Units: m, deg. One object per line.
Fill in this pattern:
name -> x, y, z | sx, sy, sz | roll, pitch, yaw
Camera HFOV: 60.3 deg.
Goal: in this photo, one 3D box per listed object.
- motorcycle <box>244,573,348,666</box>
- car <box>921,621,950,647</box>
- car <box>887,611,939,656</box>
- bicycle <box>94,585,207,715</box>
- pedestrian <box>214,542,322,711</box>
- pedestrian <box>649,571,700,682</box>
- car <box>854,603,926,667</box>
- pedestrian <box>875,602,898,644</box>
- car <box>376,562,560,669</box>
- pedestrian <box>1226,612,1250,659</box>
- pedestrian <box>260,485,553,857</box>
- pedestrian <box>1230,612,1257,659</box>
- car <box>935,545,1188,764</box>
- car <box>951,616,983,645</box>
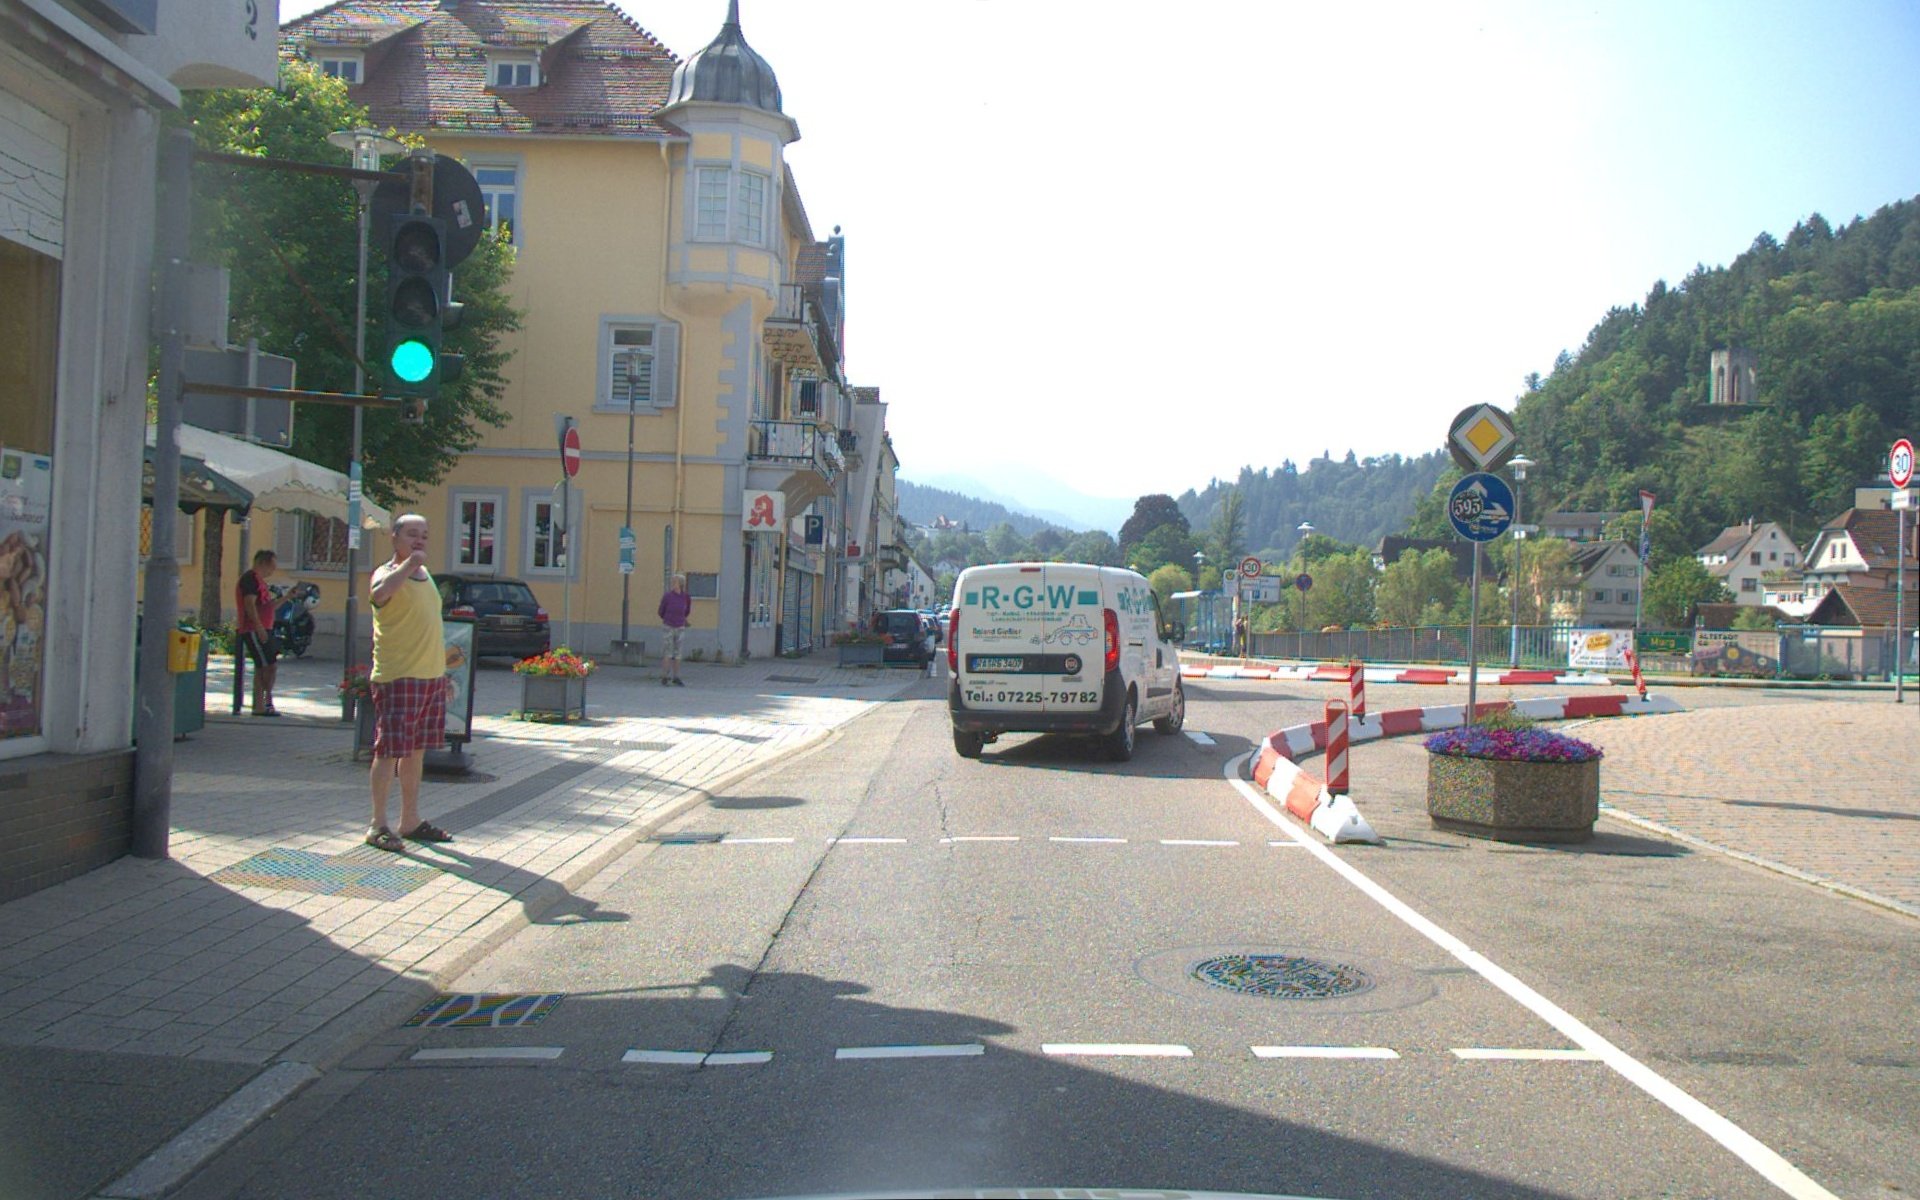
motorcycle -> -10.834, 0.292, 27.061 | 0.867, 1.384, 2.087 | 2, 2, -2
car -> -1.490, 2.030, 99.676 | 1.712, 1.473, 3.275 | 1, -1, -2
car -> -1.619, 1.144, 57.095 | 1.712, 1.473, 3.793 | 1, -1, -2
bicycle -> -8.363, 0.487, 17.159 | 0.605, 1.256, 1.856 | 2, 0, -13
pedestrian -> -7.139, 0.285, 17.097 | 0.558, 1.687, 0.884 | 2, -3, 9
pedestrian -> -4.614, 0.419, 26.793 | 0.664, 1.744, 0.617 | 2, 0, -2
car -> -1.825, 0.913, 44.013 | 1.809, 1.596, 3.566 | 1, -1, -2
pedestrian -> -3.026, 0.947, 67.950 | 0.675, 1.726, 0.659 | 1, -1, 27
car -> -8.558, 0.240, 28.571 | 1.901, 1.569, 3.912 | 3, 1, -35
pedestrian -> 10.595, 1.347, 62.997 | 0.773, 1.736, 0.492 | 2, -1, 1
pedestrian -> -3.034, 0.374, 9.115 | 0.998, 1.846, 0.906 | 6, -1, 26
pedestrian -> 10.690, 1.344, 62.352 | 0.849, 1.736, 0.777 | 2, -1, 1
car -> 1.198, 0.495, 17.247 | 1.805, 1.939, 4.318 | 2, 0, 14
car -> 0.453, 1.974, 107.829 | 1.953, 1.691, 3.999 | 3, 0, 0
